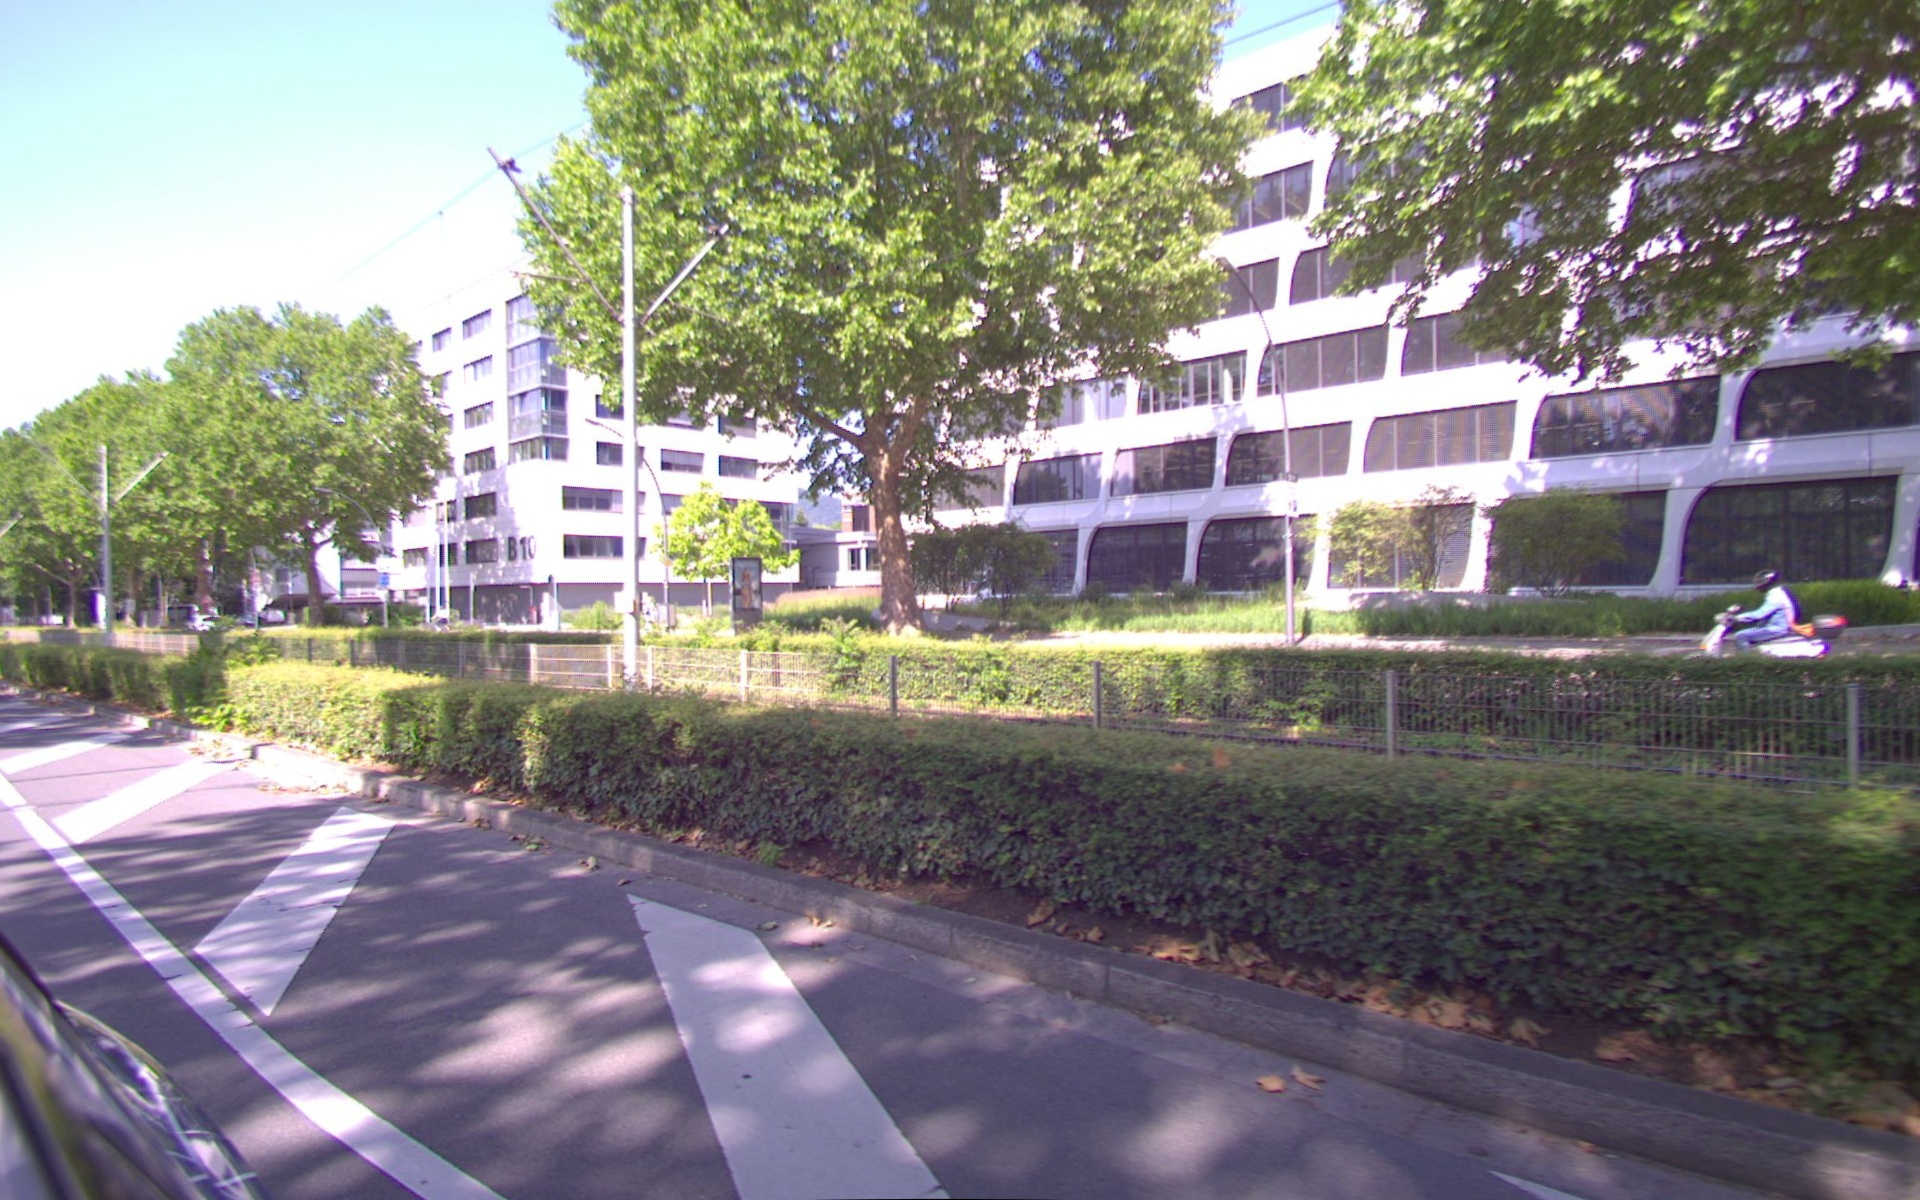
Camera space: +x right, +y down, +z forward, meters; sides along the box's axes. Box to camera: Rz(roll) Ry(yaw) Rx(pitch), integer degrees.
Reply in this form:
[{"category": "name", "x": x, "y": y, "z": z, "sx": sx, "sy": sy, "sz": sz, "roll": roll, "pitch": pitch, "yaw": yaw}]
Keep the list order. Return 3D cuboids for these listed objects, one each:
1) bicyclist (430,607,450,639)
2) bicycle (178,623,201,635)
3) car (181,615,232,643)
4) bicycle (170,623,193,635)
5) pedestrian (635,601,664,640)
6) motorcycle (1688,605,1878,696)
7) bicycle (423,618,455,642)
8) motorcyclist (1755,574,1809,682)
[{"category": "bicyclist", "x": -25.262, "y": 1.125, "z": 49.146, "sx": 0.641, "sy": 1.546, "sz": 0.647, "roll": -2, "pitch": 0, "yaw": 41}, {"category": "bicycle", "x": -76.787, "y": 2.866, "z": 100.897, "sx": 0.421, "sy": 1.111, "sz": 1.748, "roll": -2, "pitch": 0, "yaw": 39}, {"category": "car", "x": -47.018, "y": 1.804, "z": 63.135, "sx": 4.017, "sy": 1.581, "sz": 1.738, "roll": -1, "pitch": 0, "yaw": 41}, {"category": "bicycle", "x": -78.715, "y": 2.909, "z": 102.296, "sx": 0.421, "sy": 1.111, "sz": 1.748, "roll": -2, "pitch": 0, "yaw": 39}, {"category": "pedestrian", "x": -13.242, "y": 0.876, "z": 43.174, "sx": 1.014, "sy": 1.600, "sz": 0.713, "roll": -1, "pitch": 0, "yaw": 41}, {"category": "motorcycle", "x": 11.433, "y": 0.680, "z": 14.123, "sx": 1.999, "sy": 1.183, "sz": 0.626, "roll": -2, "pitch": 0, "yaw": 41}, {"category": "bicycle", "x": -25.375, "y": 1.439, "z": 49.273, "sx": 2.030, "sy": 1.132, "sz": 0.657, "roll": -1, "pitch": 0, "yaw": 42}, {"category": "motorcyclist", "x": 11.455, "y": 0.377, "z": 14.101, "sx": 0.533, "sy": 1.468, "sz": 0.575, "roll": -2, "pitch": 0, "yaw": 41}]
